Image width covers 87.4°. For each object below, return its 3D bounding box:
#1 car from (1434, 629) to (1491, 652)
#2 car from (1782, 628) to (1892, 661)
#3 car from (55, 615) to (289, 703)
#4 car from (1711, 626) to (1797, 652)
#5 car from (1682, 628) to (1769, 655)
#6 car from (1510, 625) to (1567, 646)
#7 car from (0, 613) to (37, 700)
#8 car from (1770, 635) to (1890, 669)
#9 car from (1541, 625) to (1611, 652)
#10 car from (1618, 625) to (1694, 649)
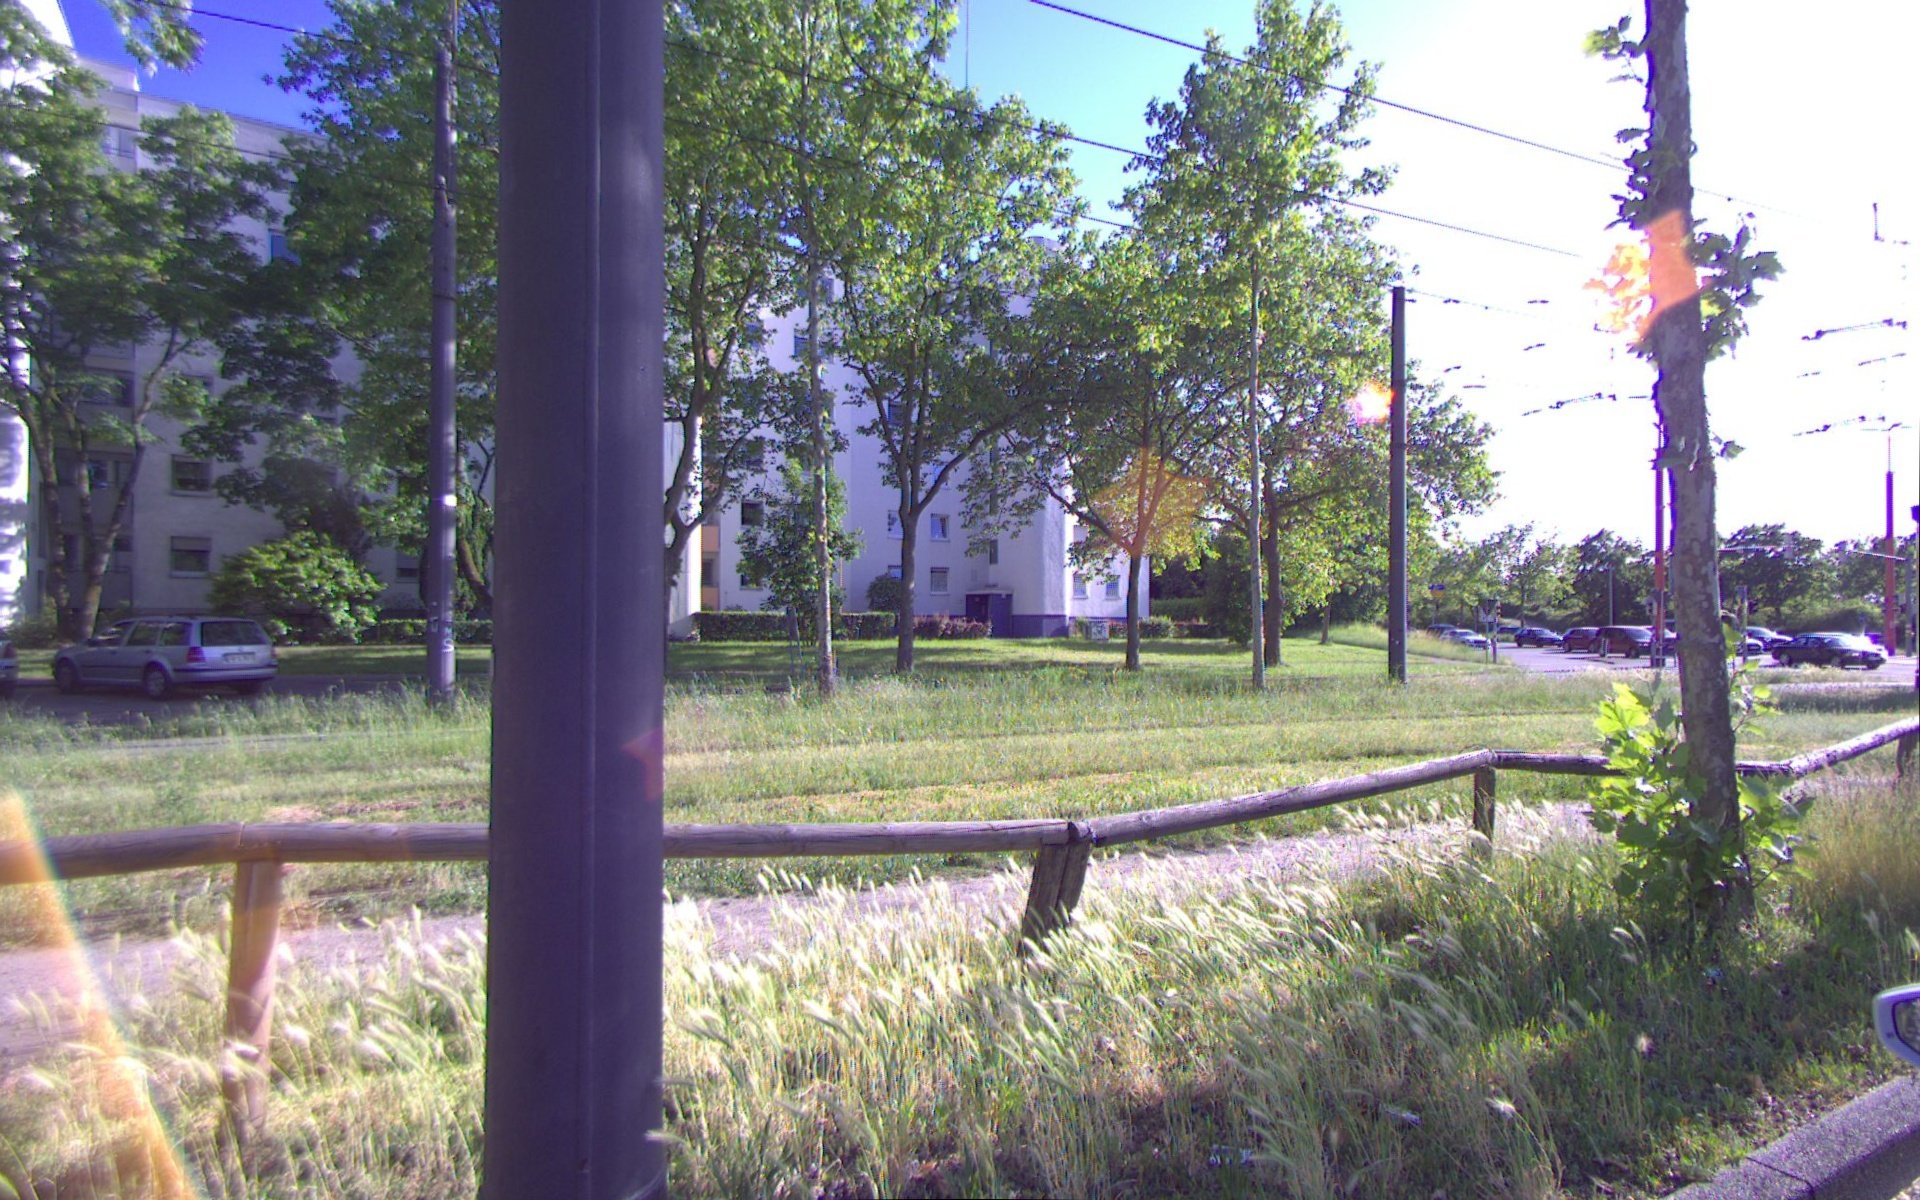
[{"bbox_3d":[38.349,3.050,76.735,1.960,1.596,4.931,1,-1,1],"label":"car"},{"bbox_3d":[43.041,2.155,49.415,1.719,1.499,4.234,1,-1,0],"label":"car"},{"bbox_3d":[-14.475,1.023,18.483,3.609,1.452,1.732,0,-1,20],"label":"car"},{"bbox_3d":[48.624,2.392,61.640,1.877,1.483,4.222,1,-1,-2],"label":"car"},{"bbox_3d":[45.661,2.465,60.040,1.877,1.483,4.222,1,-1,-2],"label":"car"},{"bbox_3d":[44.829,2.741,77.949,1.877,1.483,4.239,1,-1,-3],"label":"car"},{"bbox_3d":[-17.918,0.924,17.138,3.609,1.452,1.703,0,-1,20],"label":"car"},{"bbox_3d":[39.179,2.318,45.384,1.726,1.344,4.319,1,-1,1],"label":"car"},{"bbox_3d":[41.692,2.577,68.107,1.806,1.690,4.565,1,-1,-1],"label":"car"},{"bbox_3d":[45.529,2.406,65.805,1.877,1.483,4.373,1,-1,-2],"label":"car"}]
